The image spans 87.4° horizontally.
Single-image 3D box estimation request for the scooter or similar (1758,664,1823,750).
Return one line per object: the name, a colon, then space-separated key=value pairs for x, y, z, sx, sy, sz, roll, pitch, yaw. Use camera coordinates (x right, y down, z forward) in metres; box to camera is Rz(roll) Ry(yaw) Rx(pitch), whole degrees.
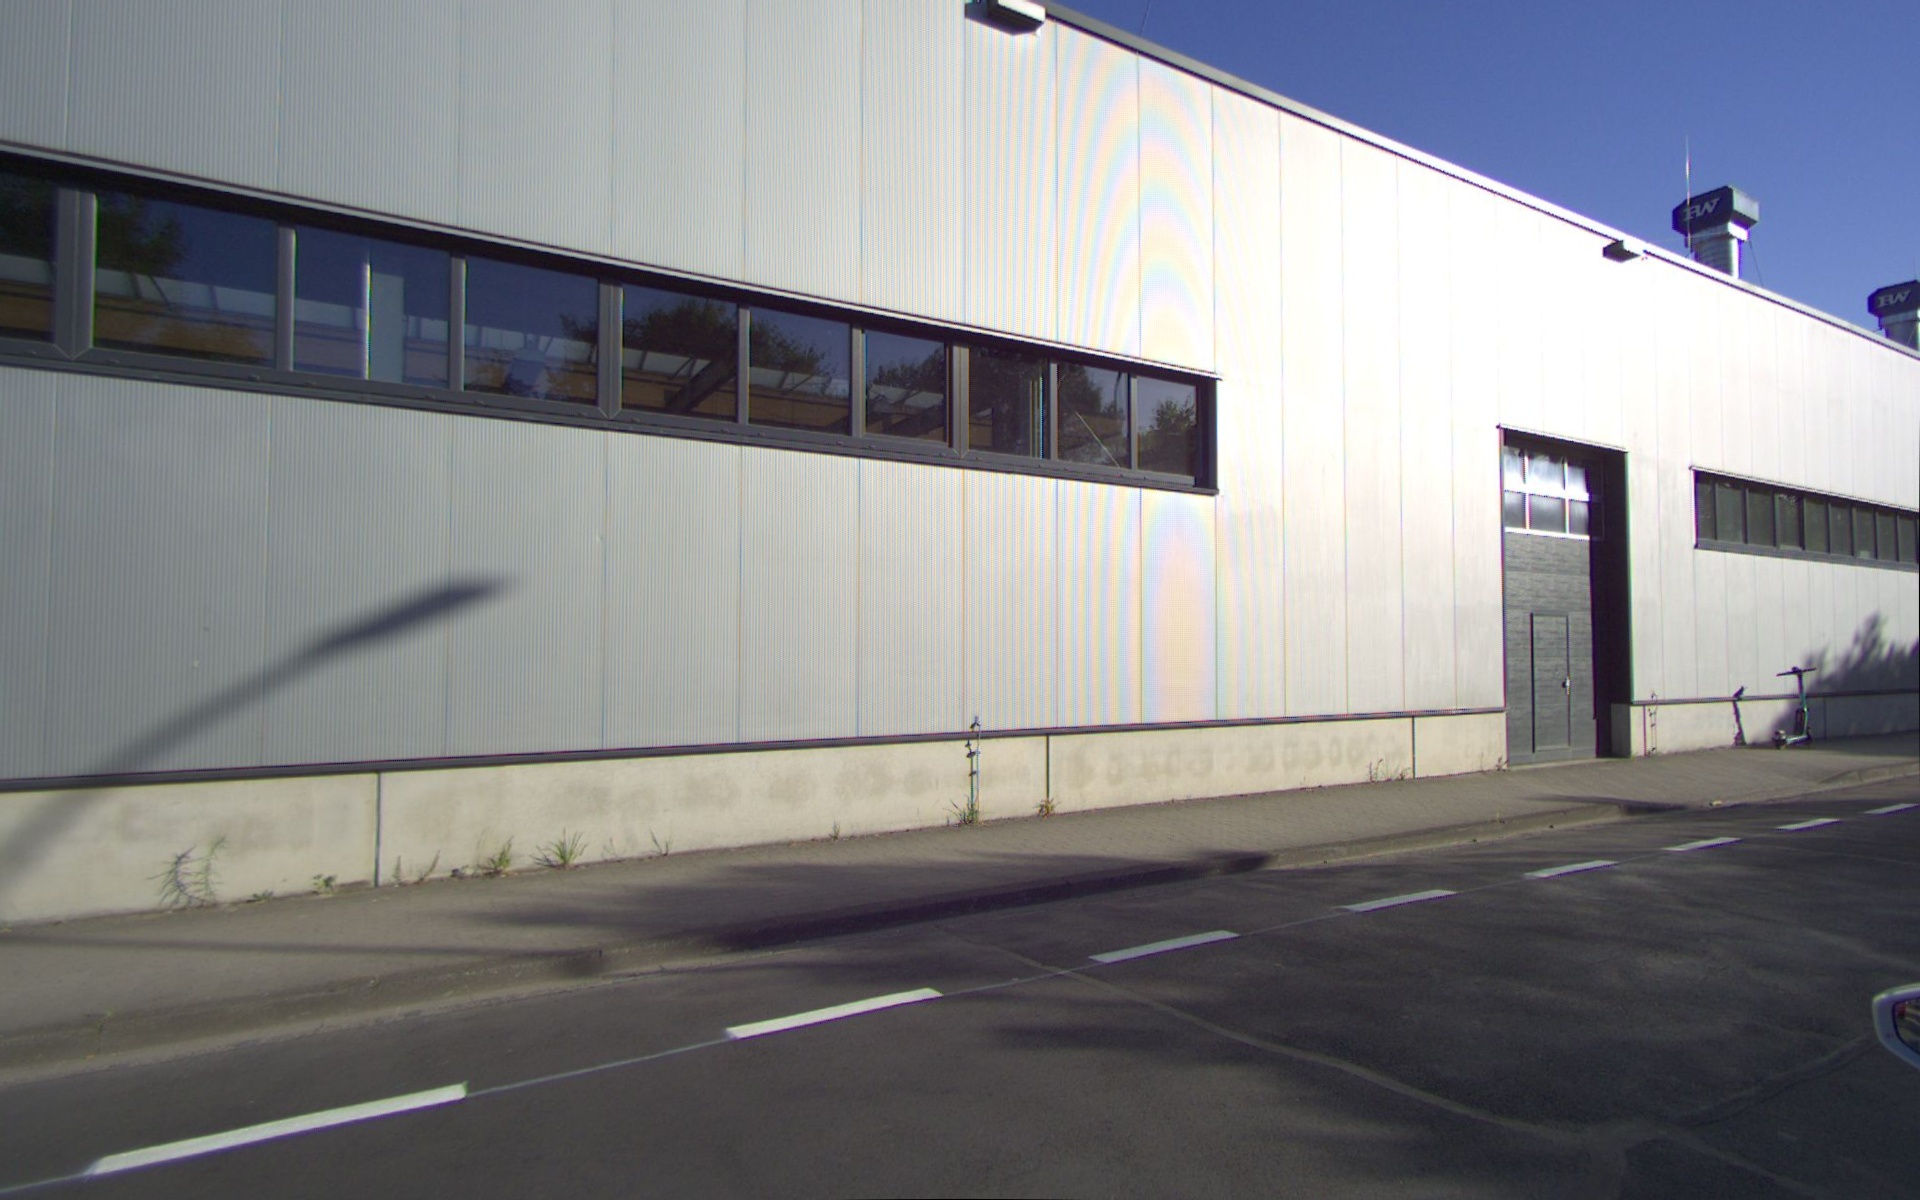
scooter or similar: x=12.976 y=1.645 z=15.685 sx=1.047 sy=1.283 sz=0.414 roll=1 pitch=-3 yaw=-31
